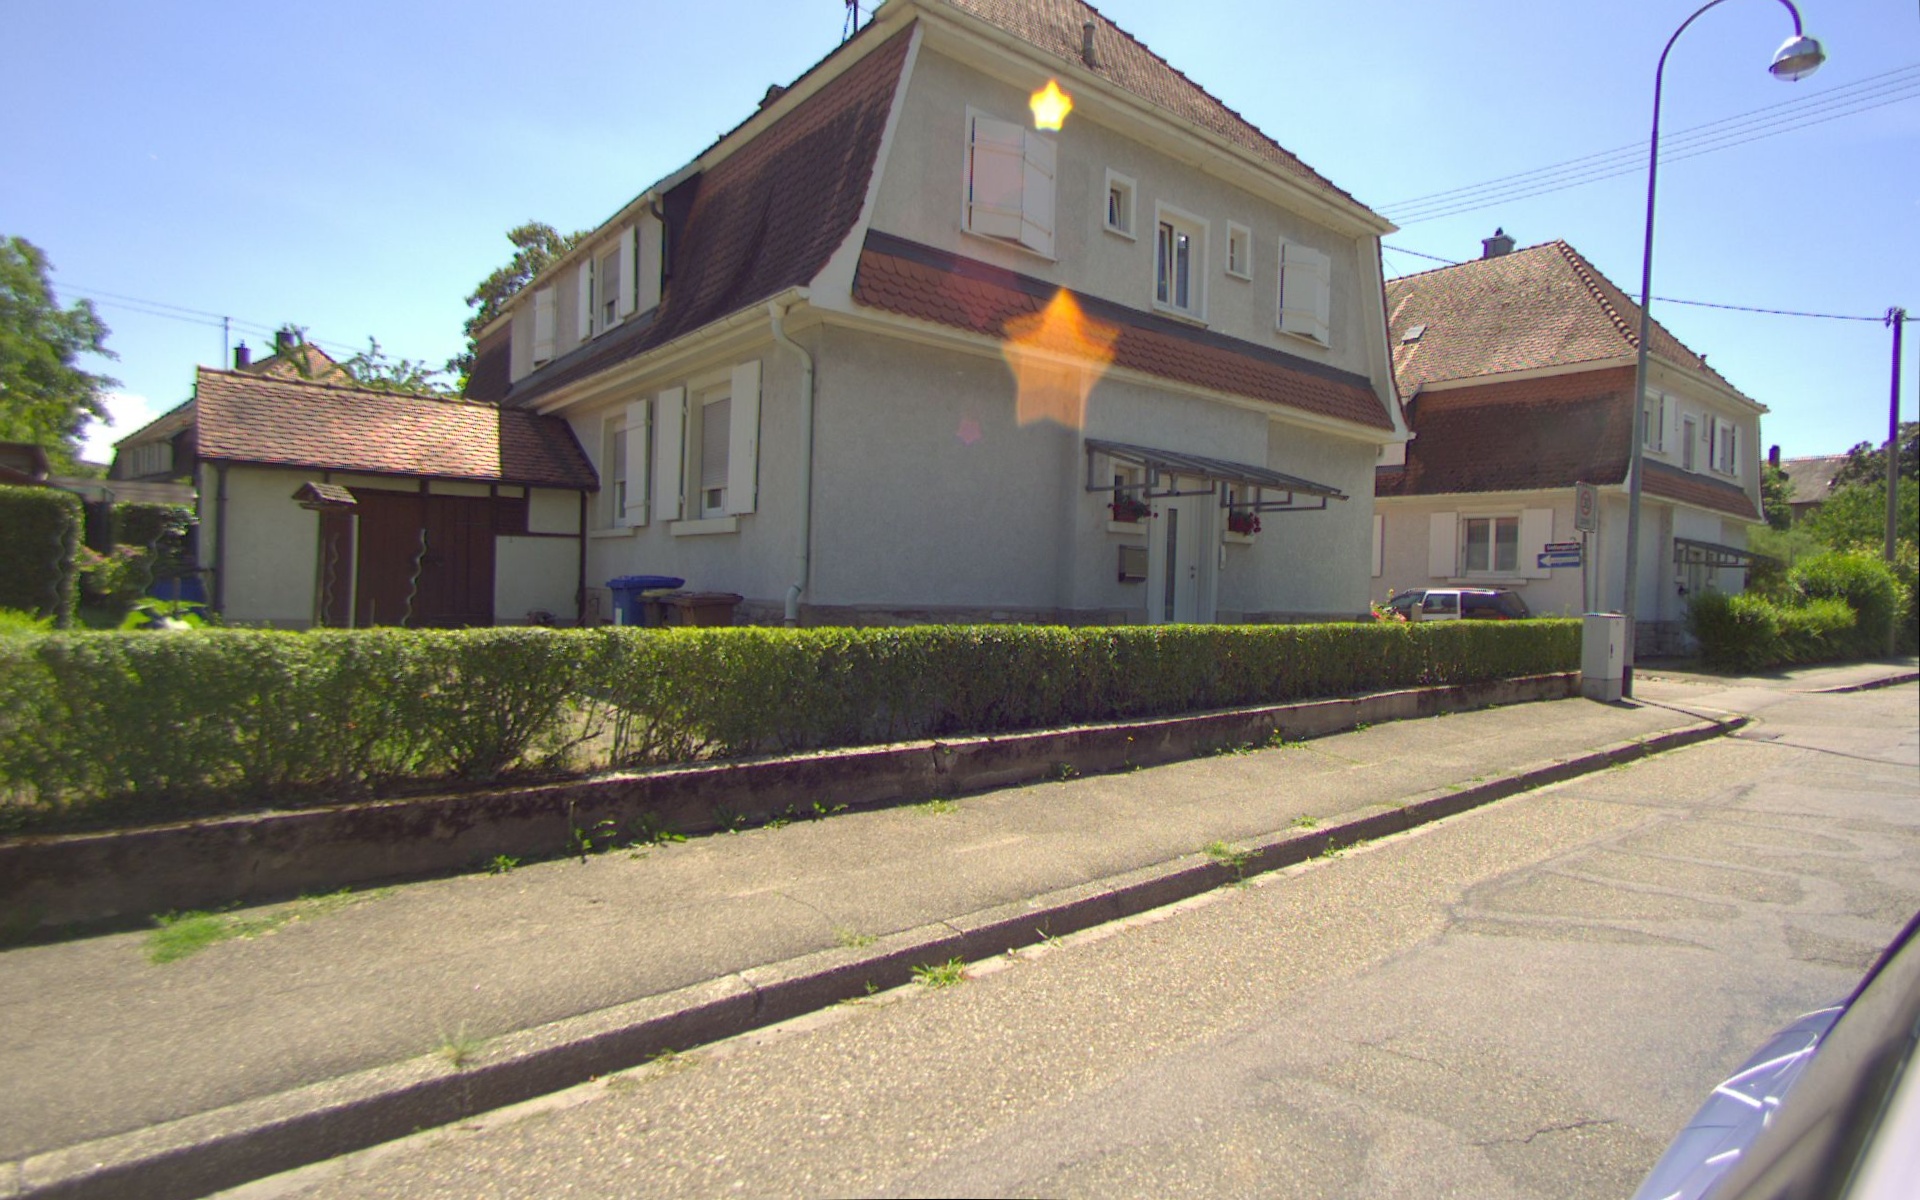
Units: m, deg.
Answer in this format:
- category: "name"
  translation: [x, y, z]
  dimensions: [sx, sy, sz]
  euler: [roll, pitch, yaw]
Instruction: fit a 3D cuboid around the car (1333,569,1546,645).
- category: "car"
  translation: [10.644, 0.091, 22.684]
  dimensions: [1.663, 1.555, 4.004]
  euler: [0, 1, -40]
